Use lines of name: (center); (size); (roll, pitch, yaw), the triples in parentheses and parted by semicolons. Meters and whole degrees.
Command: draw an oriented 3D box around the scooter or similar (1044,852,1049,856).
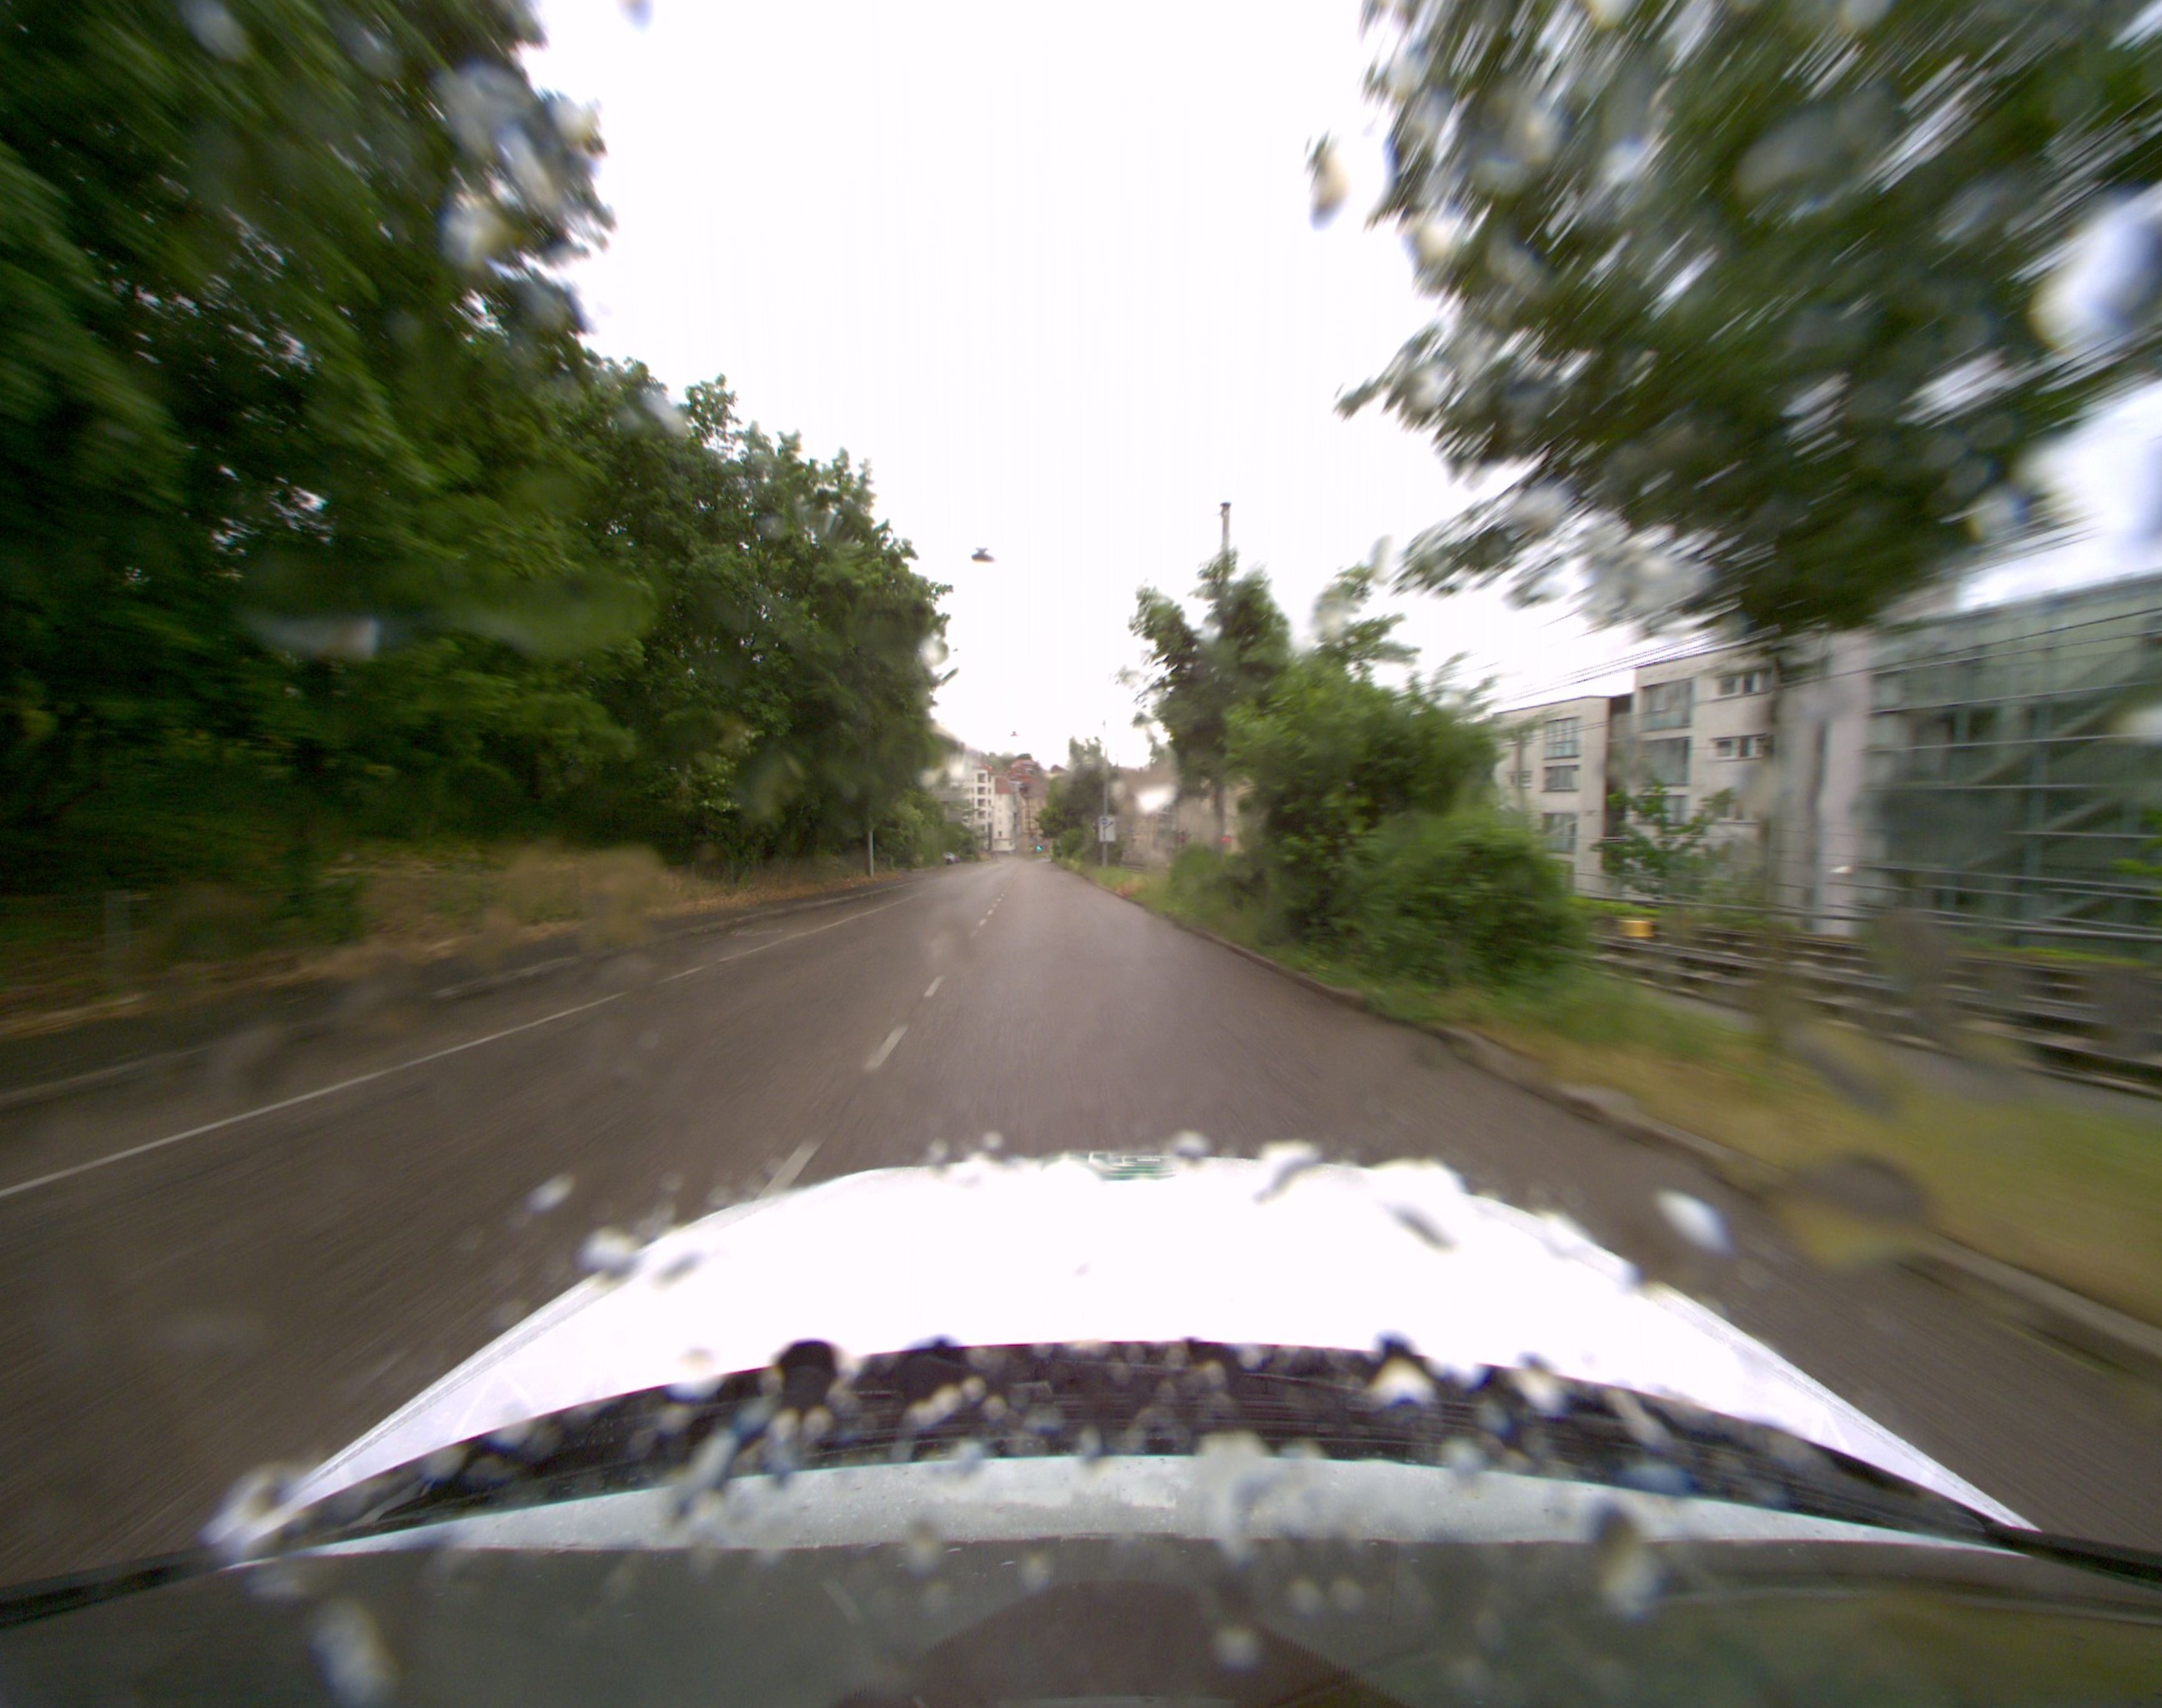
scooter or similar: (-7.086, 0.036, 167.097); (0.480, 0.761, 1.337); (0, 0, 24)

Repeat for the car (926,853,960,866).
car: (-15.749, 0.617, 92.857); (3.622, 1.407, 1.782); (0, 0, -2)

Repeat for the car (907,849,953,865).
car: (-15.292, 0.309, 82.741); (4.441, 1.602, 1.811); (0, 1, -5)

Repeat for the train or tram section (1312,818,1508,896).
train or tram section: (19.277, 0.077, 50.575); (3.324, 3.947, 19.256); (0, 0, -4)

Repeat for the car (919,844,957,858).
car: (-15.858, -0.306, 90.486); (3.984, 1.559, 1.875); (0, 0, -8)
